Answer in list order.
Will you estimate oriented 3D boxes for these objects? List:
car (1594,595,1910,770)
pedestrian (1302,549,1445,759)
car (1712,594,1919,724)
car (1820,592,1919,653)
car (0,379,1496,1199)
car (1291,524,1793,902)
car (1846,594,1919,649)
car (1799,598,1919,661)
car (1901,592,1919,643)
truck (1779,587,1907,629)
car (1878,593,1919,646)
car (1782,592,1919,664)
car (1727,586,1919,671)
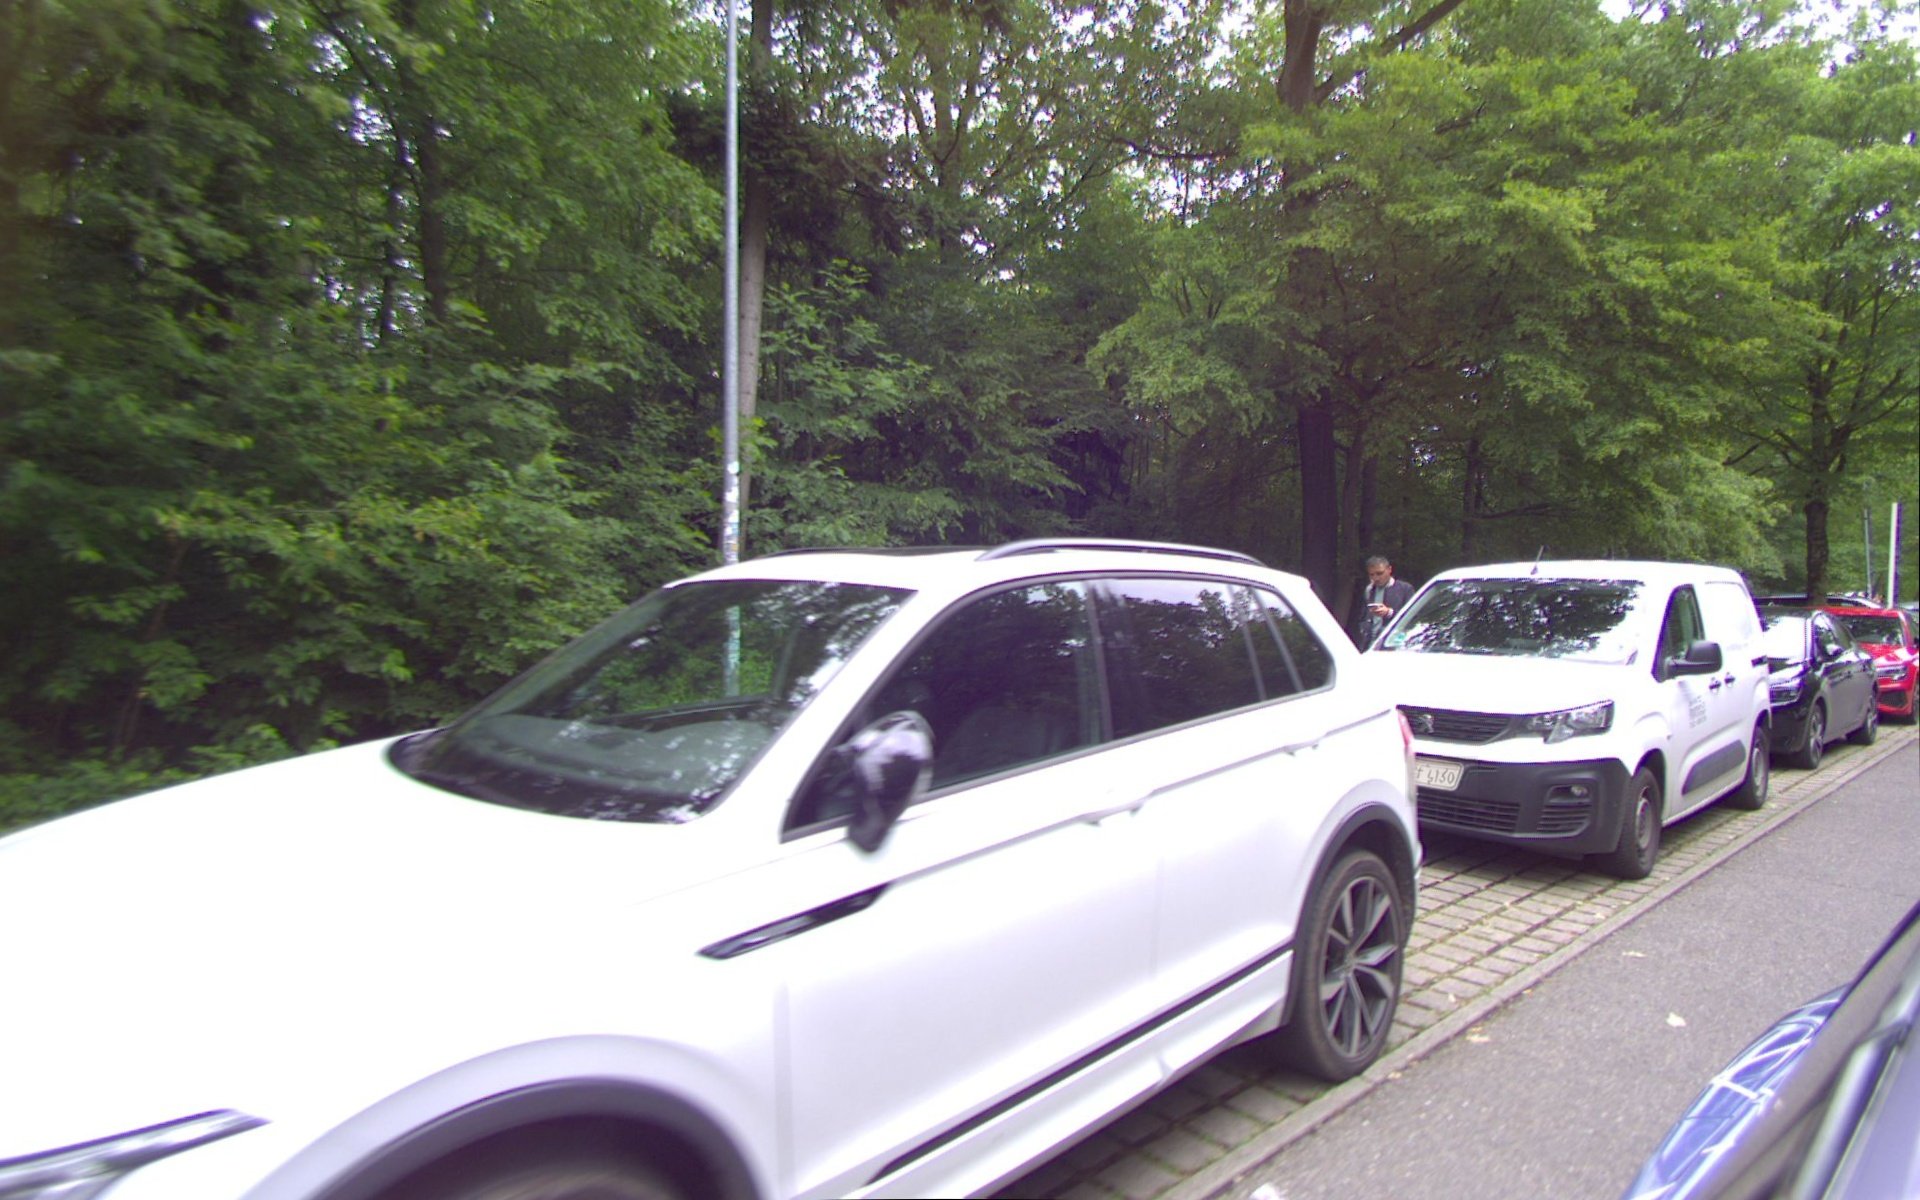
[{"bbox_3d":[8.225,0.686,10.379,4.208,1.441,1.729,0,0,-40],"label":"car"},{"bbox_3d":[3.710,0.450,9.084,0.986,1.748,0.819,0,-1,-40],"label":"pedestrian"},{"bbox_3d":[12.362,0.688,14.065,4.883,1.498,1.997,0,0,-40],"label":"car"},{"bbox_3d":[25.295,0.591,26.557,1.816,1.550,3.838,0,1,-36],"label":"car"},{"bbox_3d":[-0.269,0.625,2.875,4.638,1.683,1.787,0,0,-43],"label":"car"},{"bbox_3d":[4.235,0.541,6.999,4.474,1.803,1.746,0,0,-43],"label":"car"},{"bbox_3d":[27.103,0.598,27.806,1.774,1.475,3.839,0,1,-35],"label":"car"},{"bbox_3d":[23.312,0.708,24.736,1.916,1.494,3.999,0,0,-36],"label":"car"},{"bbox_3d":[31.399,0.545,30.544,1.939,1.579,4.023,1,-1,-32],"label":"car"},{"bbox_3d":[78.950,0.695,90.703,2.809,3.559,8.259,2,-1,-27],"label":"truck"},{"bbox_3d":[29.389,0.580,29.080,1.858,1.531,4.198,1,-1,-37],"label":"car"},{"bbox_3d":[21.385,0.619,22.982,1.942,1.571,3.991,0,0,-42],"label":"car"},{"bbox_3d":[19.260,0.565,21.600,1.922,1.687,4.277,0,0,-37],"label":"car"}]
